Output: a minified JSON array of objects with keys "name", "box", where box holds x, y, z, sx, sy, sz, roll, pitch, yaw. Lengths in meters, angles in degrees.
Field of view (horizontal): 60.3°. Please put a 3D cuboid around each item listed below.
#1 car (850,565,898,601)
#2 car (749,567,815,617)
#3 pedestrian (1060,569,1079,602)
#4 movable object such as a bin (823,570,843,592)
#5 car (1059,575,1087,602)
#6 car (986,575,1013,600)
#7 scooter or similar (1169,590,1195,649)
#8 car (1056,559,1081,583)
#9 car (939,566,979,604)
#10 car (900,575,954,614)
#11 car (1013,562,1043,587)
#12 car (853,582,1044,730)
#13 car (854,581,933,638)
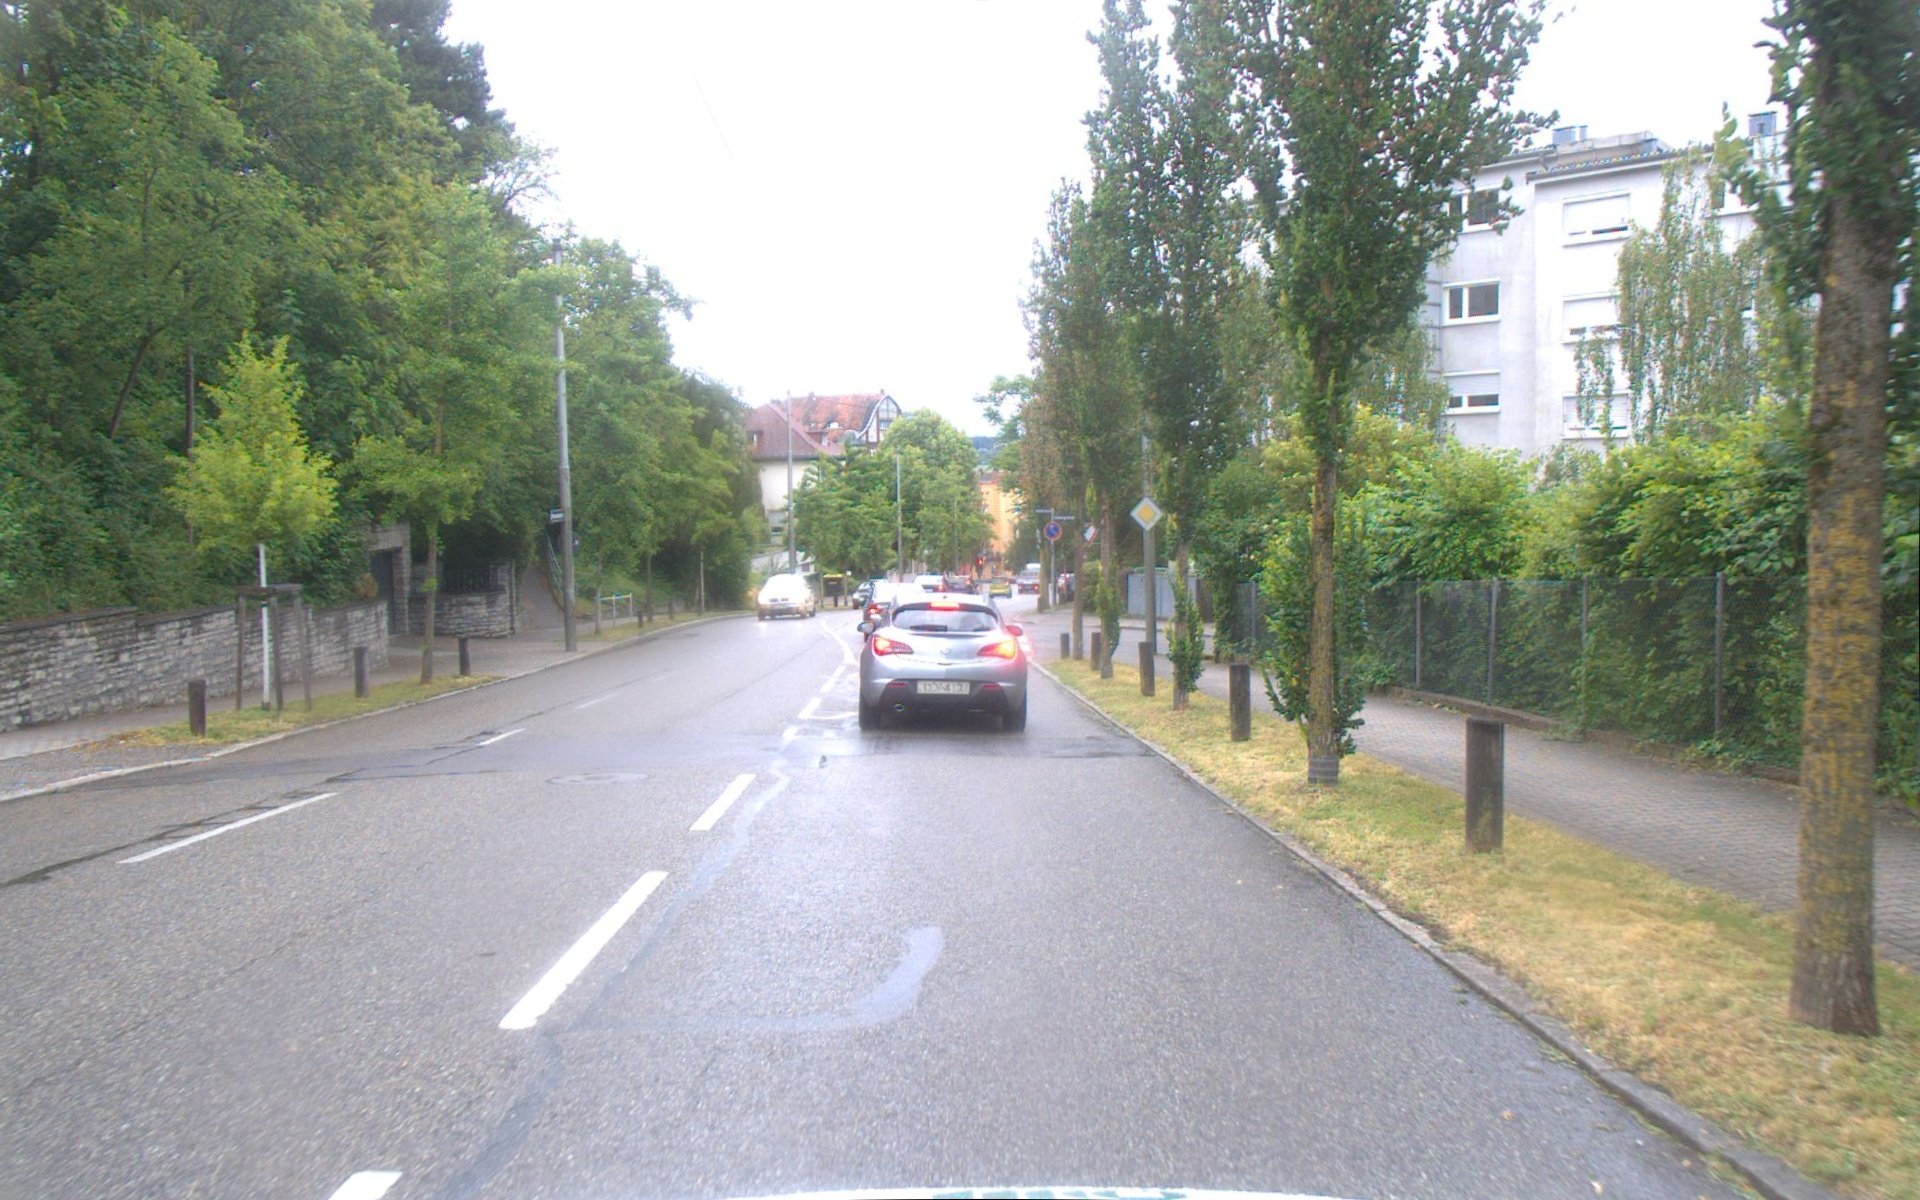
[{"name":"car","box":[-4.225,-0.841,81.878,1.872,1.612,4.588,-4,1,2]},{"name":"car","box":[-5.985,-0.292,56.024,1.729,1.511,3.802,-3,2,1]},{"name":"pedestrian","box":[6.034,-0.789,91.134,0.724,1.753,0.761,-3,1,-19]},{"name":"movable object such as a bin","box":[-8.274,-1.269,107.834,1.245,1.411,0.489,1,1,4]},{"name":"car","box":[6.447,-0.680,93.922,1.472,1.460,4.002,-2,0,5]},{"name":"car","box":[2.808,-0.896,117.044,1.717,1.679,4.002,2,1,4]},{"name":"scooter or similar","box":[4.970,0.424,37.073,0.336,1.276,1.267,2,0,-2]},{"name":"car","box":[9.894,-2.663,150.876,1.951,2.071,4.739,2,2,6]},{"name":"car","box":[-0.027,-0.819,87.339,1.731,1.812,3.979,2,2,4]},{"name":"car","box":[-1.403,-0.256,71.578,1.920,1.497,3.954,2,2,4]},{"name":"car","box":[6.006,-2.271,145.518,2.285,2.071,4.739,2,2,6]},{"name":"car","box":[-0.151,0.555,18.827,1.906,1.457,3.883,2,0,-1]},{"name":"car","box":[-1.622,0.202,41.357,1.760,1.346,4.001,0,1,1]}]
